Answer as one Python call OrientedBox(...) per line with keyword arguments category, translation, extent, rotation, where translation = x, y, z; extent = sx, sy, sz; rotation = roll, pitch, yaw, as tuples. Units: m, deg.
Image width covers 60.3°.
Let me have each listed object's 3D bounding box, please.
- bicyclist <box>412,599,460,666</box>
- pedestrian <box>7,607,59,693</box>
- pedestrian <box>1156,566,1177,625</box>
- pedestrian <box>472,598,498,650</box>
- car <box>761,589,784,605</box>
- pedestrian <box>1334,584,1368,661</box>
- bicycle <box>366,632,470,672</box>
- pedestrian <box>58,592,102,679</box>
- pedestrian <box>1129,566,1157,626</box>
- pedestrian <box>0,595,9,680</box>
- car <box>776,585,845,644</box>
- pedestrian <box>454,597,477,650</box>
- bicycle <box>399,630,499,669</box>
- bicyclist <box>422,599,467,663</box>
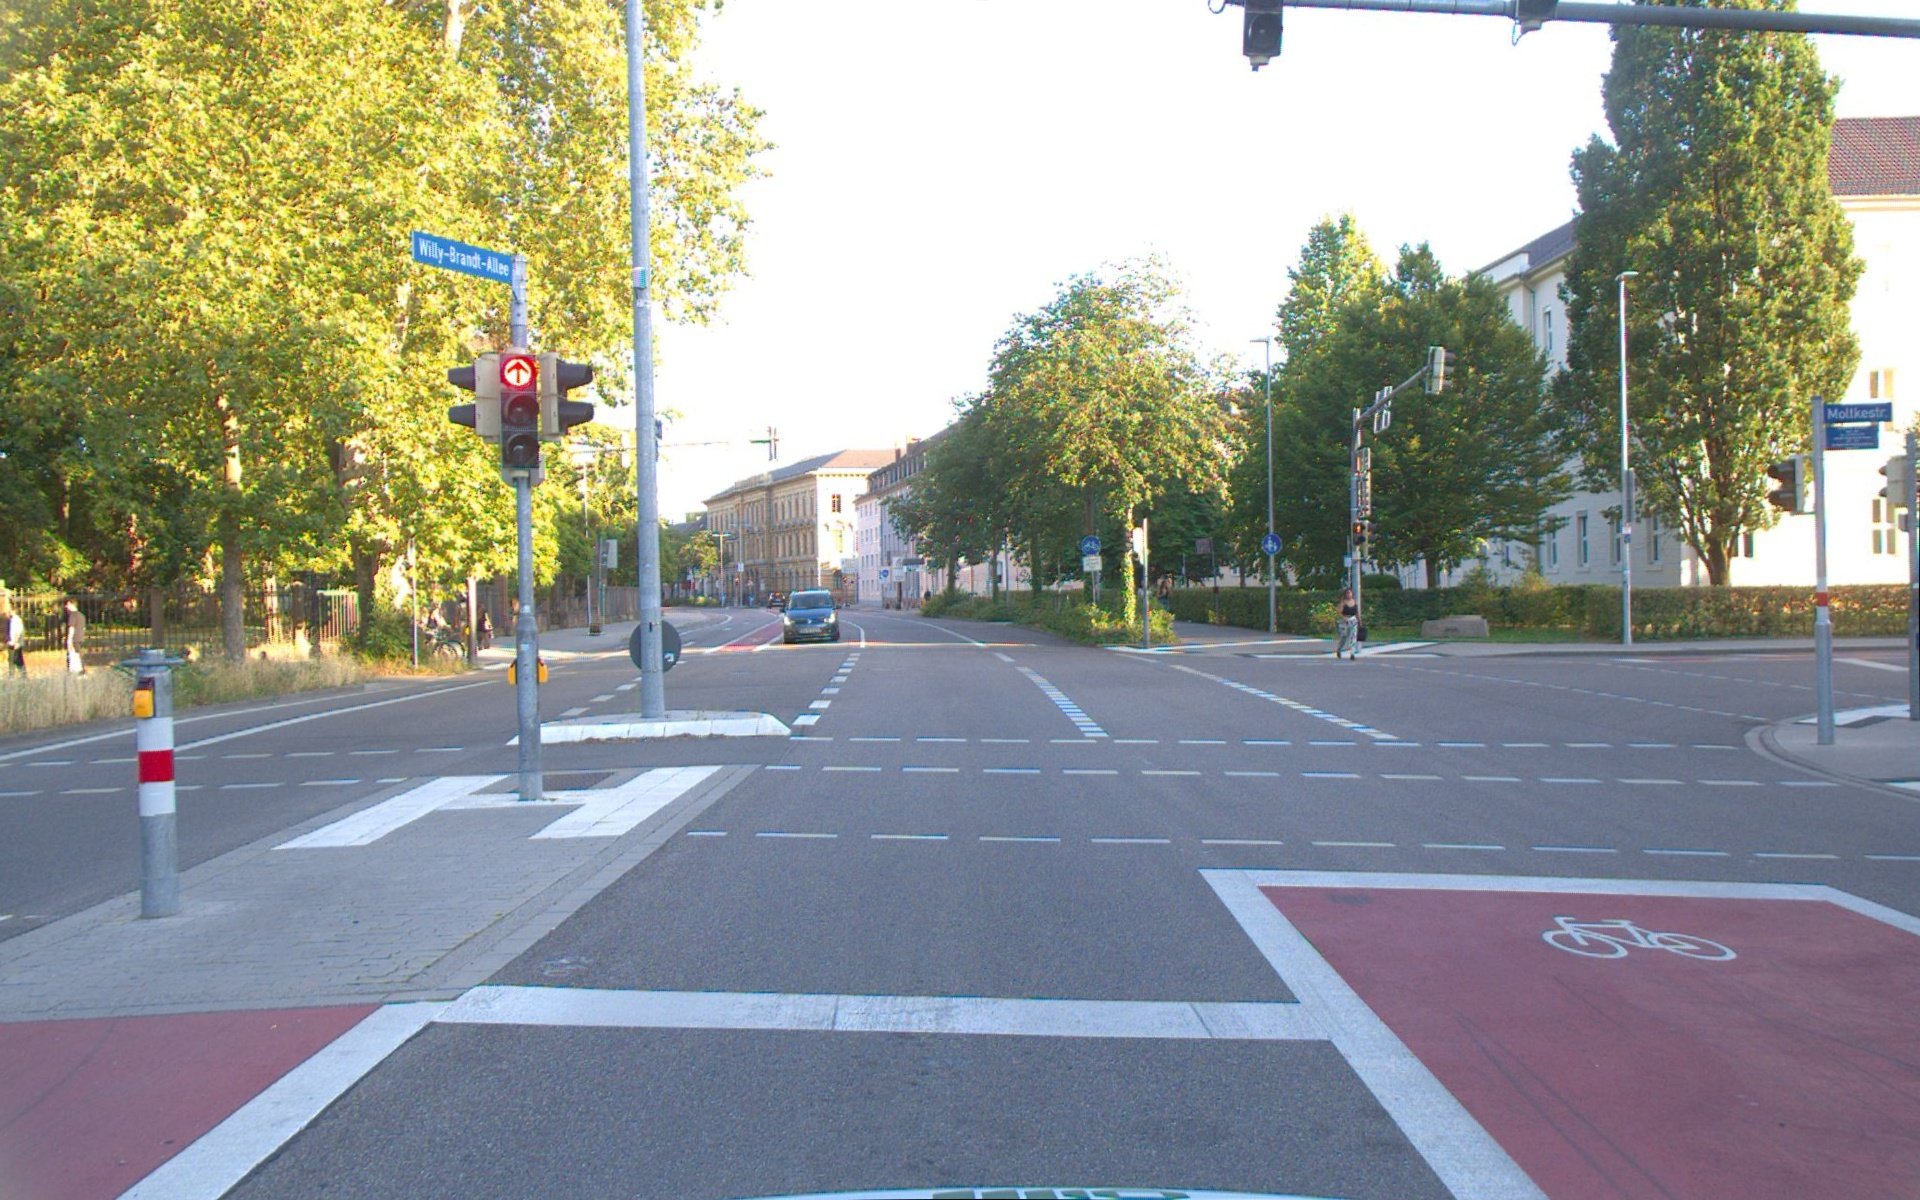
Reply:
OrientedBox(category="bicyclist", translation=(-13.363, 0.825, 42.184), extent=(0.938, 1.659, 0.753), rotation=(-1, 0, 0))
OrientedBox(category="pedestrian", translation=(-22.648, 1.208, 40.419), extent=(0.746, 2.049, 1.075), rotation=(0, 0, -6))
OrientedBox(category="pedestrian", translation=(7.225, -0.145, 57.917), extent=(0.622, 2.049, 0.720), rotation=(0, 0, -4))
OrientedBox(category="pedestrian", translation=(-14.847, 0.731, 51.671), extent=(0.587, 1.601, 0.646), rotation=(-1, 0, -1))
OrientedBox(category="car", translation=(-19.432, -0.292, 171.701), extent=(1.789, 1.616, 3.985), rotation=(-2, 1, -14))
OrientedBox(category="pedestrian", translation=(8.592, 0.493, 36.391), extent=(0.587, 1.664, 0.691), rotation=(0, 1, 0))
OrientedBox(category="bicycle", translation=(-13.809, 1.332, 42.166), extent=(2.380, 0.940, 0.775), rotation=(-1, 0, 0))
OrientedBox(category="pedestrian", translation=(-21.095, 0.840, 39.651), extent=(0.626, 2.049, 0.701), rotation=(-1, 0, 1))
OrientedBox(category="pedestrian", translation=(6.345, -0.132, 57.349), extent=(0.852, 2.049, 0.722), rotation=(0, 0, -1))
OrientedBox(category="pedestrian", translation=(-23.469, 0.910, 39.617), extent=(0.786, 2.049, 0.993), rotation=(0, 0, -1))
OrientedBox(category="car", translation=(-4.865, 0.440, 54.302), extent=(1.812, 1.750, 4.295), rotation=(-3, 0, 0))
OrientedBox(category="pedestrian", translation=(-15.498, 0.731, 51.834), extent=(0.524, 1.624, 0.590), rotation=(-1, 0, -1))
OrientedBox(category="bicycle", translation=(-13.559, 1.314, 43.931), extent=(2.380, 0.940, 0.775), rotation=(-1, 0, 0))
OrientedBox(category="bicyclist", translation=(-13.687, 0.818, 43.920), extent=(0.938, 1.659, 0.753), rotation=(-1, 0, 0))
